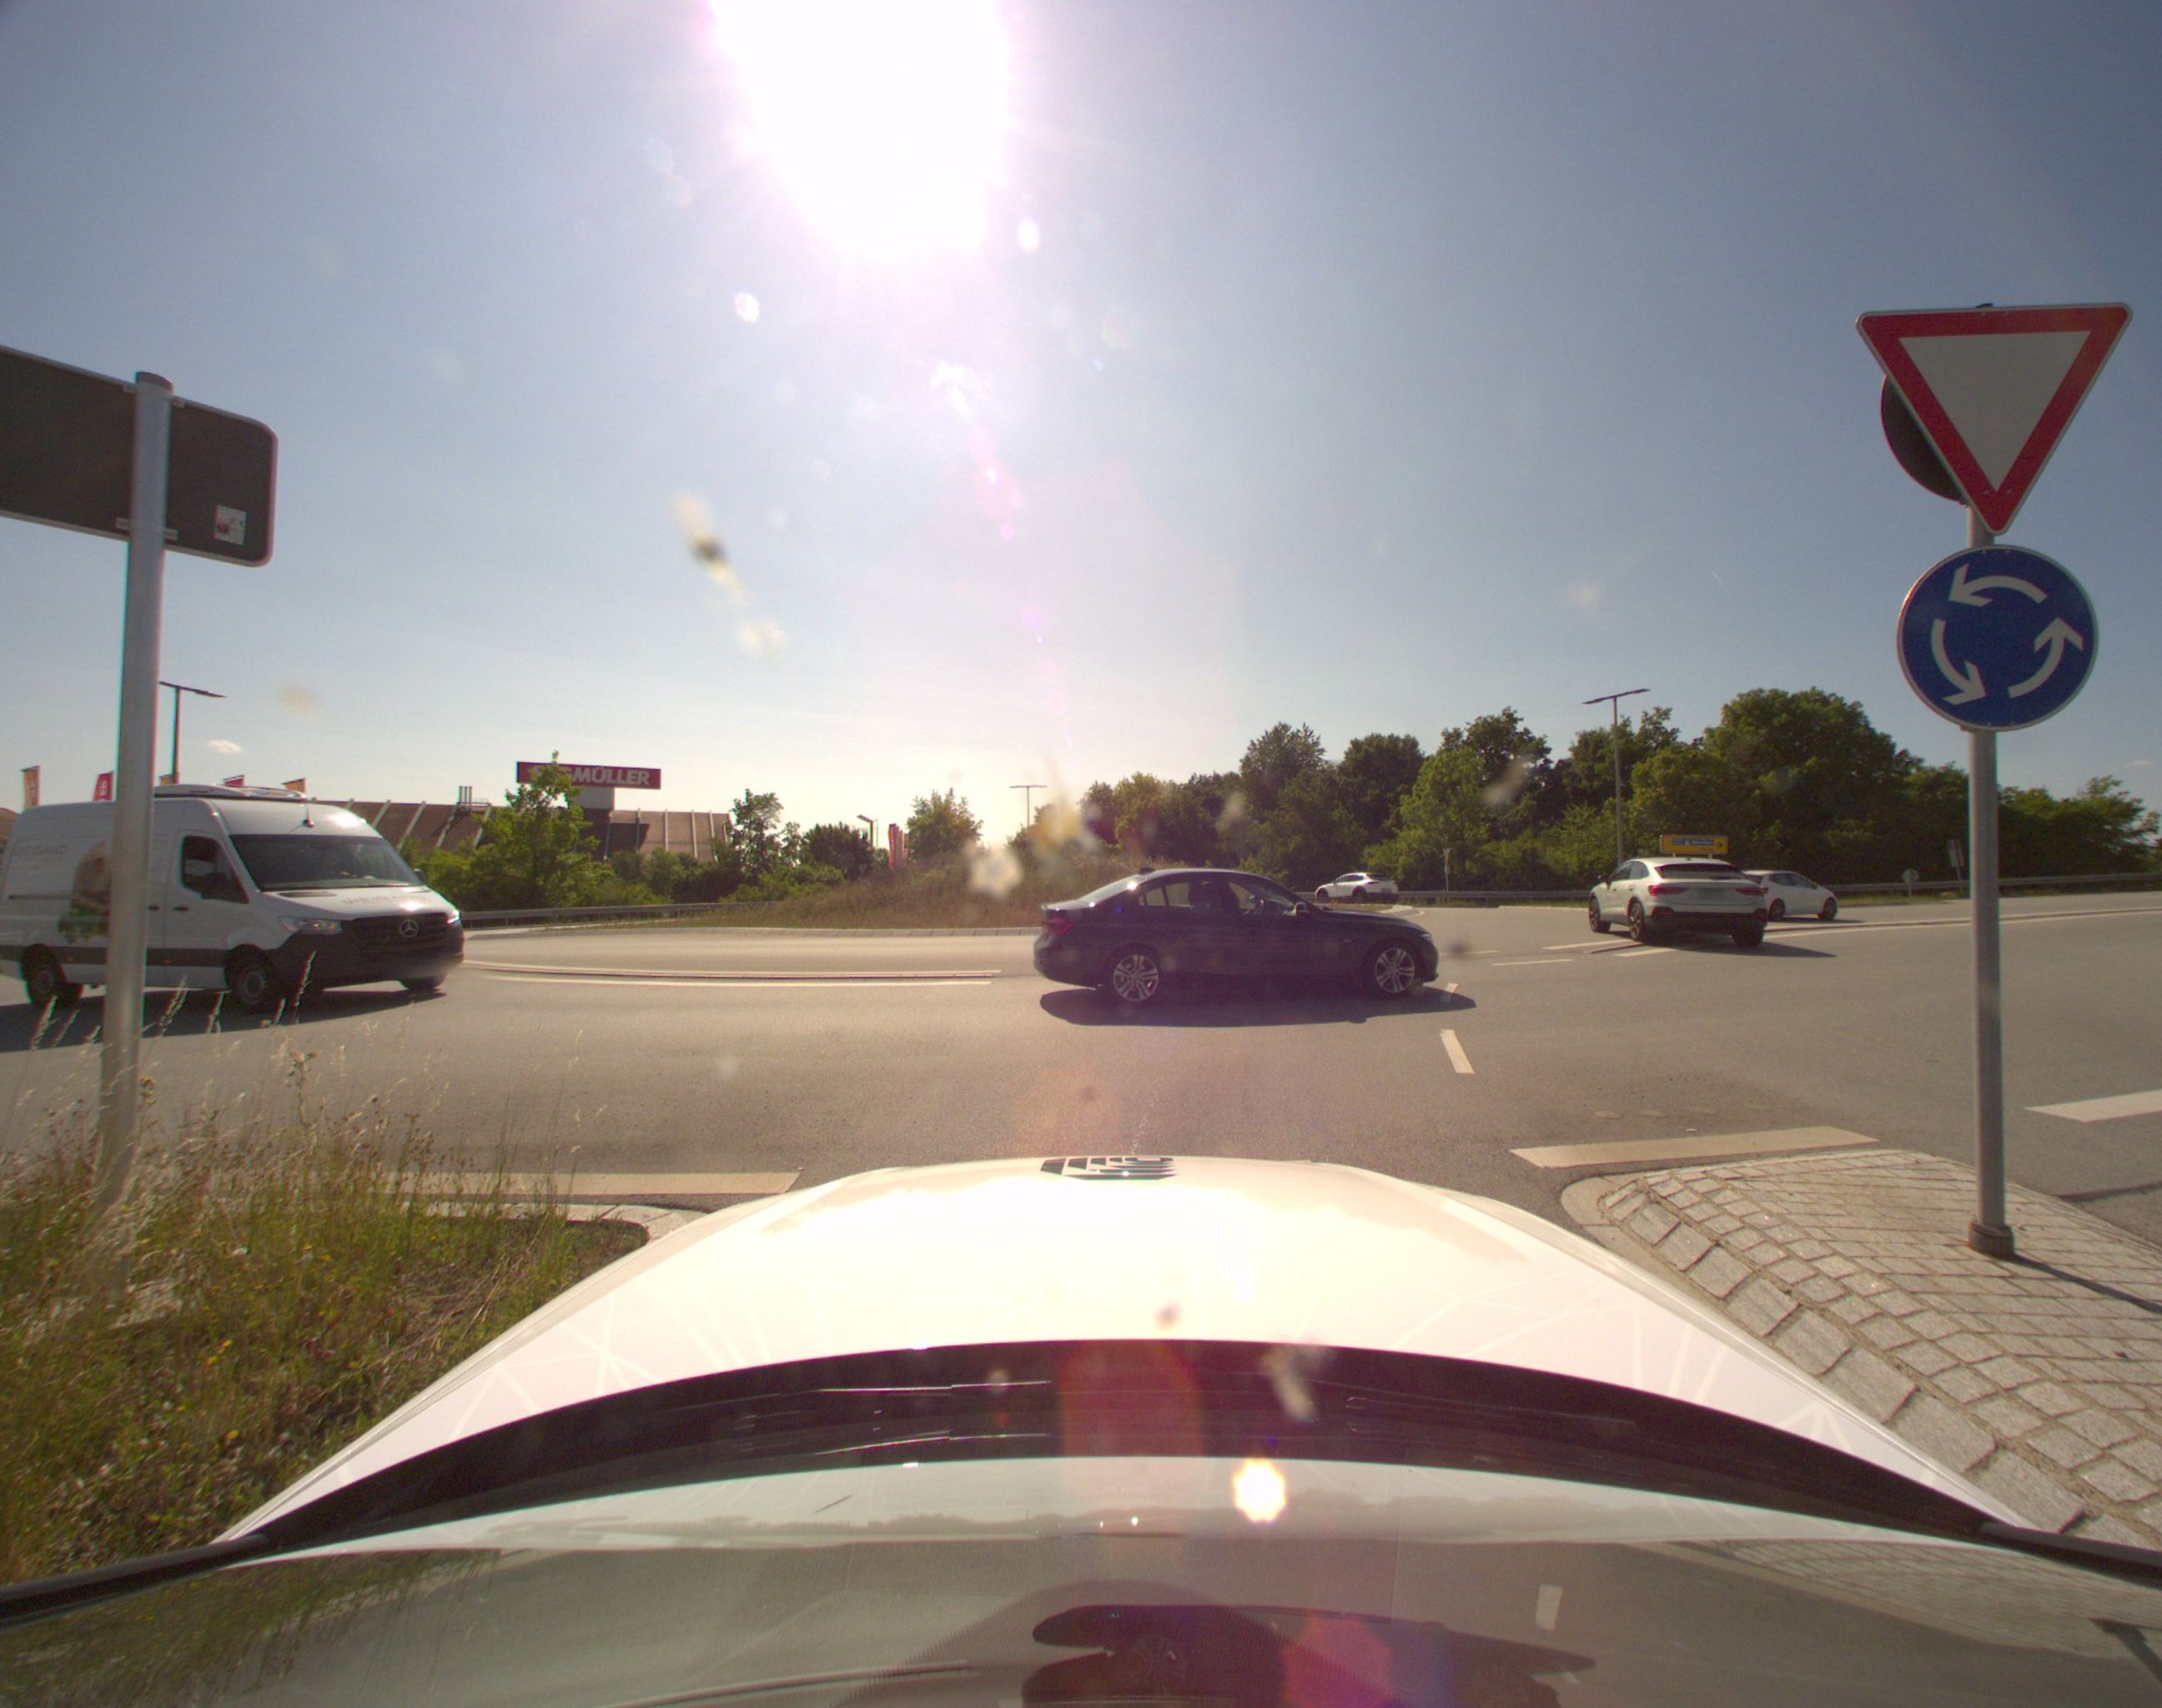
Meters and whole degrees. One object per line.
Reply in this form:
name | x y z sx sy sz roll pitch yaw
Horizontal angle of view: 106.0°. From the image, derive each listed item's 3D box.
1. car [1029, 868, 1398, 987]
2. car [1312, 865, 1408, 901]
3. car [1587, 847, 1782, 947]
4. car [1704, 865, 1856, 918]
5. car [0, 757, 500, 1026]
car | 1.371 0.759 9.267 3.849 1.182 1.672 0 -1 -7
car | 12.599 1.349 37.053 1.792 1.530 4.258 0 -3 -20
car | 11.155 0.732 15.437 1.825 1.596 4.347 -1 -1 21
car | 20.179 1.029 23.495 4.426 1.405 1.776 1 -1 -27
car | -10.977 0.441 10.641 6.072 2.921 2.093 0 -1 15
